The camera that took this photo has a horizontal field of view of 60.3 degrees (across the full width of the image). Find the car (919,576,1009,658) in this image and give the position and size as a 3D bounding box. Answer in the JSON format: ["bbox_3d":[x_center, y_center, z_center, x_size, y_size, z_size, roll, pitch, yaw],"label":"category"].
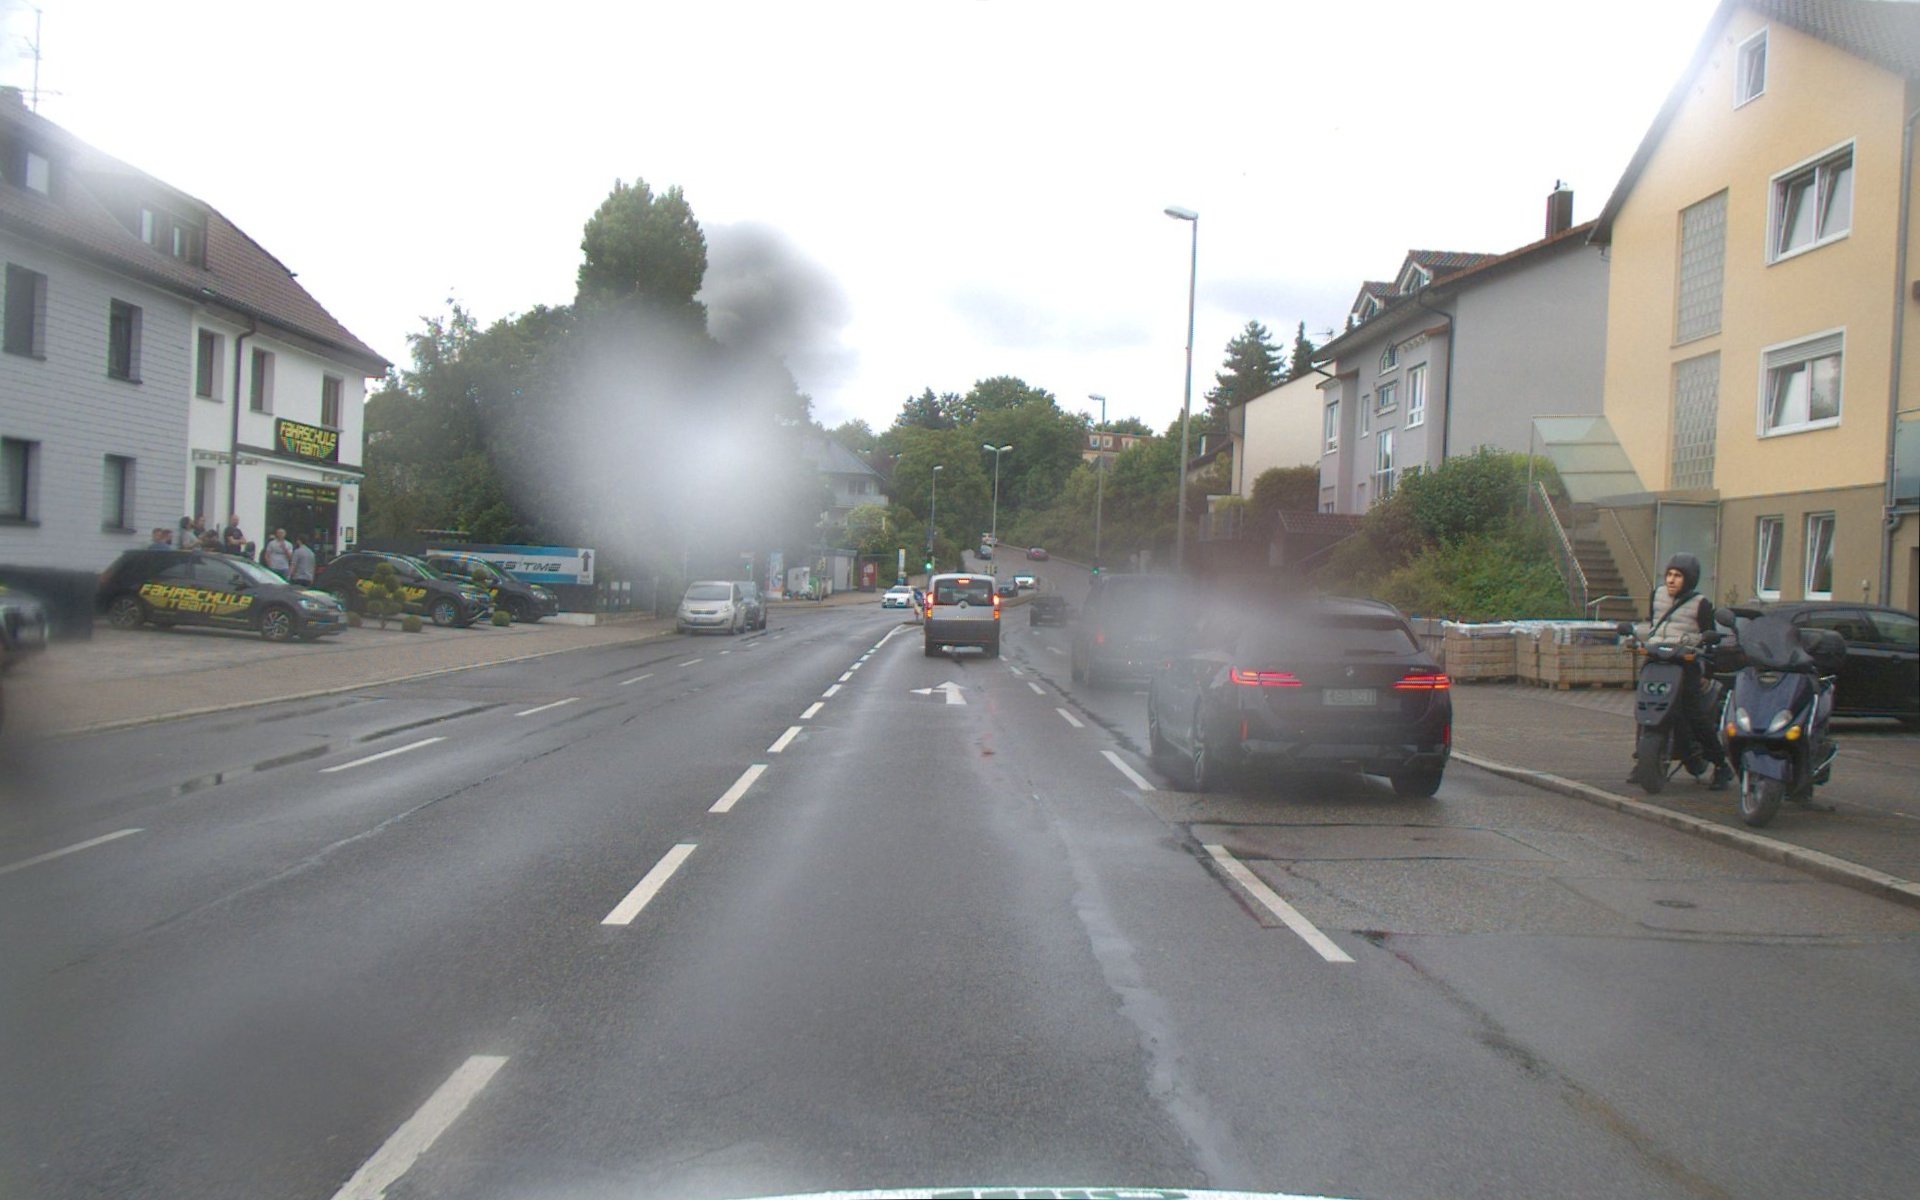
[{"bbox_3d":[0.082,0.371,39.131,1.953,1.768,4.000,2,0,0],"label":"car"}]

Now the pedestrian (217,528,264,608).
[{"bbox_3d":[-15.731,-0.691,36.182,0.588,1.694,0.650,5,0,4],"label":"pedestrian"}]

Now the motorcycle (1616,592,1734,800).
[{"bbox_3d":[5.635,0.702,12.974,0.742,1.476,2.087,2,0,25],"label":"motorcycle"}]

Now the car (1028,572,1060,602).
[{"bbox_3d":[6.885,-1.099,136.391,2.469,2.048,5.611,2,3,2],"label":"car"}]

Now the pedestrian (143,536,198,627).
[{"bbox_3d":[-15.200,-0.347,31.861,0.588,1.694,0.650,5,0,4],"label":"pedestrian"}]

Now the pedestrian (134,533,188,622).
[{"bbox_3d":[-15.734,-0.446,32.568,0.588,1.694,0.650,5,0,4],"label":"pedestrian"}]

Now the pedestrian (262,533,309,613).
[{"bbox_3d":[-14.692,-0.584,36.021,0.588,1.694,0.650,5,0,7],"label":"pedestrian"}]

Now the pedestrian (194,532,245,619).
[{"bbox_3d":[-14.844,-0.486,33.168,0.588,1.694,0.650,5,0,4],"label":"pedestrian"}]

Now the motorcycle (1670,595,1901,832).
[{"bbox_3d":[5.747,0.716,11.456,0.808,1.476,2.074,2,1,45],"label":"motorcycle"}]

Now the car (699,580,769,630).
[{"bbox_3d":[-7.822,0.172,57.552,1.846,1.612,3.999,2,0,-1],"label":"car"}]

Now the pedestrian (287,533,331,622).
[{"bbox_3d":[-13.875,-0.482,35.267,0.589,1.821,0.649,5,0,-6],"label":"pedestrian"}]

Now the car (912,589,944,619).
[{"bbox_3d":[-2.022,0.225,105.826,1.953,1.803,3.999,2,0,-1],"label":"car"}]

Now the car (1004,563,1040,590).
[{"bbox_3d":[5.569,-2.182,150.211,2.473,2.048,5.604,2,4,-6],"label":"car"}]

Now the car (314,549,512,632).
[{"bbox_3d":[-13.030,-0.225,39.595,3.992,1.542,1.855,6,0,-1],"label":"car"}]

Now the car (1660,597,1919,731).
[{"bbox_3d":[10.473,0.715,19.199,3.907,1.458,1.868,1,0,-3],"label":"car"}]

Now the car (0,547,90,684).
[{"bbox_3d":[-12.768,0.069,19.538,3.906,1.542,1.855,3,0,-1],"label":"car"}]

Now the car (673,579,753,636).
[{"bbox_3d":[-7.566,0.225,50.925,1.846,1.612,3.999,2,0,-1],"label":"car"}]

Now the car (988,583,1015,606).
[{"bbox_3d":[3.287,-0.432,132.328,1.953,1.803,4.000,1,0,-1],"label":"car"}]

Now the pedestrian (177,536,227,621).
[{"bbox_3d":[-15.725,-0.449,34.329,0.588,1.694,0.650,5,0,4],"label":"pedestrian"}]

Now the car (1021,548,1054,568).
[{"bbox_3d":[9.033,-4.952,193.058,2.478,2.048,5.593,2,3,-13],"label":"car"}]

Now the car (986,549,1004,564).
[{"bbox_3d":[4.082,-5.026,191.747,1.953,1.612,3.999,2,0,-1],"label":"car"}]

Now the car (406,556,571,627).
[{"bbox_3d":[-13.218,-0.238,46.526,3.992,1.542,1.855,6,0,-1],"label":"car"}]

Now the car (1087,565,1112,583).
[{"bbox_3d":[13.153,-2.461,156.655,1.953,1.612,3.999,2,0,-1],"label":"car"}]

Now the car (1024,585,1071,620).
[{"bbox_3d":[4.120,0.102,78.538,1.953,1.606,4.000,1,0,-1],"label":"car"}]

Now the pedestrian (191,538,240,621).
[{"bbox_3d":[-15.851,-0.435,35.215,0.588,1.694,0.650,5,0,4],"label":"pedestrian"}]

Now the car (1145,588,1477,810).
[{"bbox_3d":[2.721,0.701,13.769,1.952,1.509,4.001,2,0,1],"label":"car"}]

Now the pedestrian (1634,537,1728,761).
[{"bbox_3d":[5.666,0.369,12.980,0.608,1.678,0.832,2,0,25],"label":"pedestrian"}]

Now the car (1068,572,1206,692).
[{"bbox_3d":[2.868,0.498,27.635,1.801,1.798,4.000,2,0,0],"label":"car"}]

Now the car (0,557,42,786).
[{"bbox_3d":[-7.269,0.466,9.596,1.722,1.559,4.205,2,0,-4],"label":"car"}]

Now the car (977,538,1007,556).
[{"bbox_3d":[4.129,-6.872,214.228,2.478,2.047,5.592,2,4,-13],"label":"car"}]

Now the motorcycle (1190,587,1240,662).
[{"bbox_3d":[5.378,0.496,34.984,0.689,1.536,2.150,-1,0,-1],"label":"motorcycle"}]

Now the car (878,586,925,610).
[{"bbox_3d":[-3.893,-0.119,111.143,1.951,1.574,4.399,2,0,15],"label":"car"}]

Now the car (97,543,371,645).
[{"bbox_3d":[-12.911,-0.101,29.585,3.990,1.542,1.855,3,0,-1],"label":"car"}]
